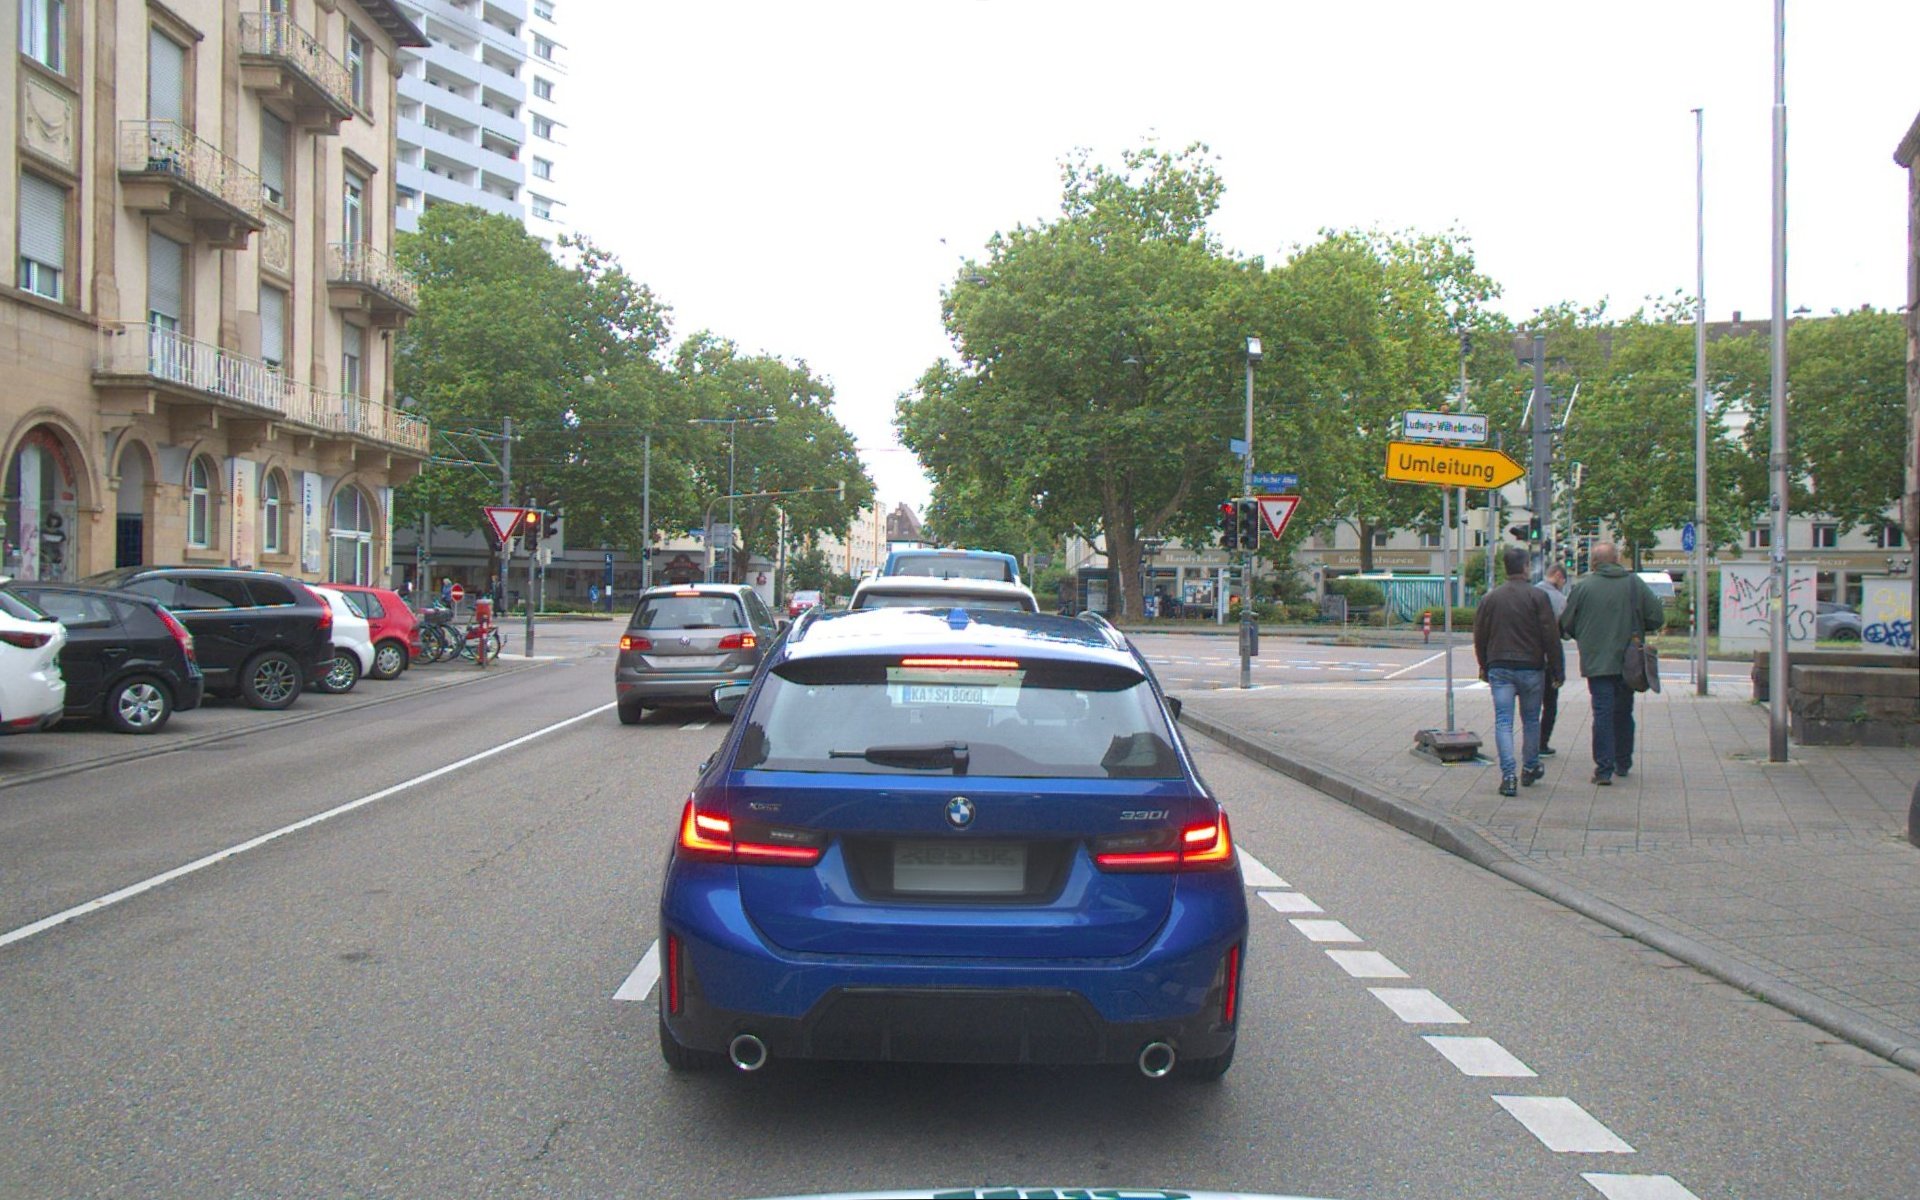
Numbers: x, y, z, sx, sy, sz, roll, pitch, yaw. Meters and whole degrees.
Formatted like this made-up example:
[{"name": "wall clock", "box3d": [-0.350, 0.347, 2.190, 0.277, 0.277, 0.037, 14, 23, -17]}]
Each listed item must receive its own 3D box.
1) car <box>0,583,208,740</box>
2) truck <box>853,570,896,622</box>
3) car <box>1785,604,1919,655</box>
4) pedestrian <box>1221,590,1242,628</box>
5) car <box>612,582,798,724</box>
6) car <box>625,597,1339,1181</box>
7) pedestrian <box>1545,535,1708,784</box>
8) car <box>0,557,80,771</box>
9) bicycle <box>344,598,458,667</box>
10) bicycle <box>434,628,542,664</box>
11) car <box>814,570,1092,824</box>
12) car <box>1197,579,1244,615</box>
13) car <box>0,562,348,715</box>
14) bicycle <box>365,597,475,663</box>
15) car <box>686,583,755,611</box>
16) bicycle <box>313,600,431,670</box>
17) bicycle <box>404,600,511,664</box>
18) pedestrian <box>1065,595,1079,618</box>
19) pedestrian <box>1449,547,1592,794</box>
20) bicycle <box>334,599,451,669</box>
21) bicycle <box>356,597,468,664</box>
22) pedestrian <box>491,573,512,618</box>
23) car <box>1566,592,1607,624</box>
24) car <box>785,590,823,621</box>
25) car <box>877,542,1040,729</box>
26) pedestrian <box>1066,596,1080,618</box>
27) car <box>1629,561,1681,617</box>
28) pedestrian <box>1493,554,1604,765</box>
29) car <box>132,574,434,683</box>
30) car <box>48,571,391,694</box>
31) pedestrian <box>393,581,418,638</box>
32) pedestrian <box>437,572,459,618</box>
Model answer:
[{"name": "car", "box3d": [-9.913, 0.587, 16.674, 3.959, 1.521, 1.708, 1, 0, -39]}, {"name": "truck", "box3d": [-4.168, -0.206, 80.763, 2.033, 2.450, 5.460, 0, 1, -3]}, {"name": "car", "box3d": [28.653, 0.925, 52.932, 3.895, 1.589, 1.687, 0, 0, 22]}, {"name": "pedestrian", "box3d": [12.737, 0.409, 77.616, 0.768, 1.774, 0.925, 0, 0, -2]}, {"name": "car", "box3d": [-2.991, 0.568, 20.133, 1.697, 1.551, 3.999, 0, 0, -1]}, {"name": "car", "box3d": [0.029, 0.720, 6.295, 1.778, 1.430, 4.319, 0, 0, -1]}, {"name": "pedestrian", "box3d": [5.015, 0.429, 12.507, 0.788, 1.789, 0.969, -2, 0, -1]}, {"name": "car", "box3d": [-9.593, 0.488, 13.700, 3.937, 1.754, 1.826, 1, 0, -26]}, {"name": "bicycle", "box3d": [-10.244, 0.589, 30.346, 1.849, 1.053, 0.442, 6, 0, -3]}, {"name": "bicycle", "box3d": [-9.471, 0.918, 33.243, 1.849, 0.453, 1.028, 6, 2, -3]}, {"name": "car", "box3d": [-0.071, 0.610, 12.619, 1.778, 1.620, 3.999, 0, 0, -1]}, {"name": "car", "box3d": [16.960, -0.193, 107.659, 2.130, 2.239, 3.999, 0, 0, 23]}, {"name": "car", "box3d": [-9.824, 0.432, 20.026, 4.192, 1.680, 1.704, 1, 0, -44]}, {"name": "bicycle", "box3d": [-10.318, 0.578, 31.642, 1.849, 1.053, 0.442, 6, 0, -3]}, {"name": "car", "box3d": [-15.382, -0.182, 106.430, 3.953, 1.736, 1.976, 1, 0, -35]}, {"name": "bicycle", "box3d": [-10.298, 0.611, 28.993, 1.848, 1.053, 0.442, 5, 0, 2]}, {"name": "bicycle", "box3d": [-9.774, 0.618, 32.199, 1.849, 1.053, 0.442, 6, 0, -3]}, {"name": "pedestrian", "box3d": [7.045, 0.417, 103.998, 0.801, 1.396, 0.762, 0, 0, -1]}, {"name": "pedestrian", "box3d": [4.077, 0.490, 12.094, 0.660, 1.715, 0.969, -2, 0, -1]}, {"name": "bicycle", "box3d": [-10.222, 0.609, 29.811, 1.849, 1.053, 0.442, 6, 0, -3]}, {"name": "bicycle", "box3d": [-10.272, 0.564, 31.008, 1.849, 1.053, 0.442, 6, 0, -3]}, {"name": "pedestrian", "box3d": [-18.219, -0.181, 65.727, 0.661, 1.802, 0.726, 0, 0, -1]}, {"name": "car", "box3d": [30.874, 0.375, 81.474, 1.632, 1.542, 3.935, 1, 0, 25]}, {"name": "car", "box3d": [-7.827, 0.262, 83.025, 1.615, 1.472, 3.510, 0, 0, -1]}, {"name": "car", "box3d": [-0.042, 0.375, 20.092, 1.778, 2.040, 3.999, 0, 0, -1]}, {"name": "pedestrian", "box3d": [7.047, 0.447, 103.137, 0.835, 1.337, 0.762, 0, 0, -1]}, {"name": "car", "box3d": [34.853, -0.551, 82.835, 2.191, 2.685, 5.443, 1, 0, 25]}, {"name": "pedestrian", "box3d": [4.930, 0.479, 13.902, 0.619, 1.702, 0.970, -2, 0, 6]}, {"name": "car", "box3d": [-10.356, 0.438, 25.516, 1.653, 1.498, 3.978, 3, 1, 40]}, {"name": "car", "box3d": [-10.057, 0.472, 22.652, 3.968, 1.498, 1.540, 3, 0, -44]}, {"name": "pedestrian", "box3d": [-20.170, 0.357, 60.163, 0.612, 2.049, 0.617, 1, -1, 4]}, {"name": "pedestrian", "box3d": [-20.178, -0.209, 65.189, 0.661, 1.802, 0.726, 0, 0, -1]}]
